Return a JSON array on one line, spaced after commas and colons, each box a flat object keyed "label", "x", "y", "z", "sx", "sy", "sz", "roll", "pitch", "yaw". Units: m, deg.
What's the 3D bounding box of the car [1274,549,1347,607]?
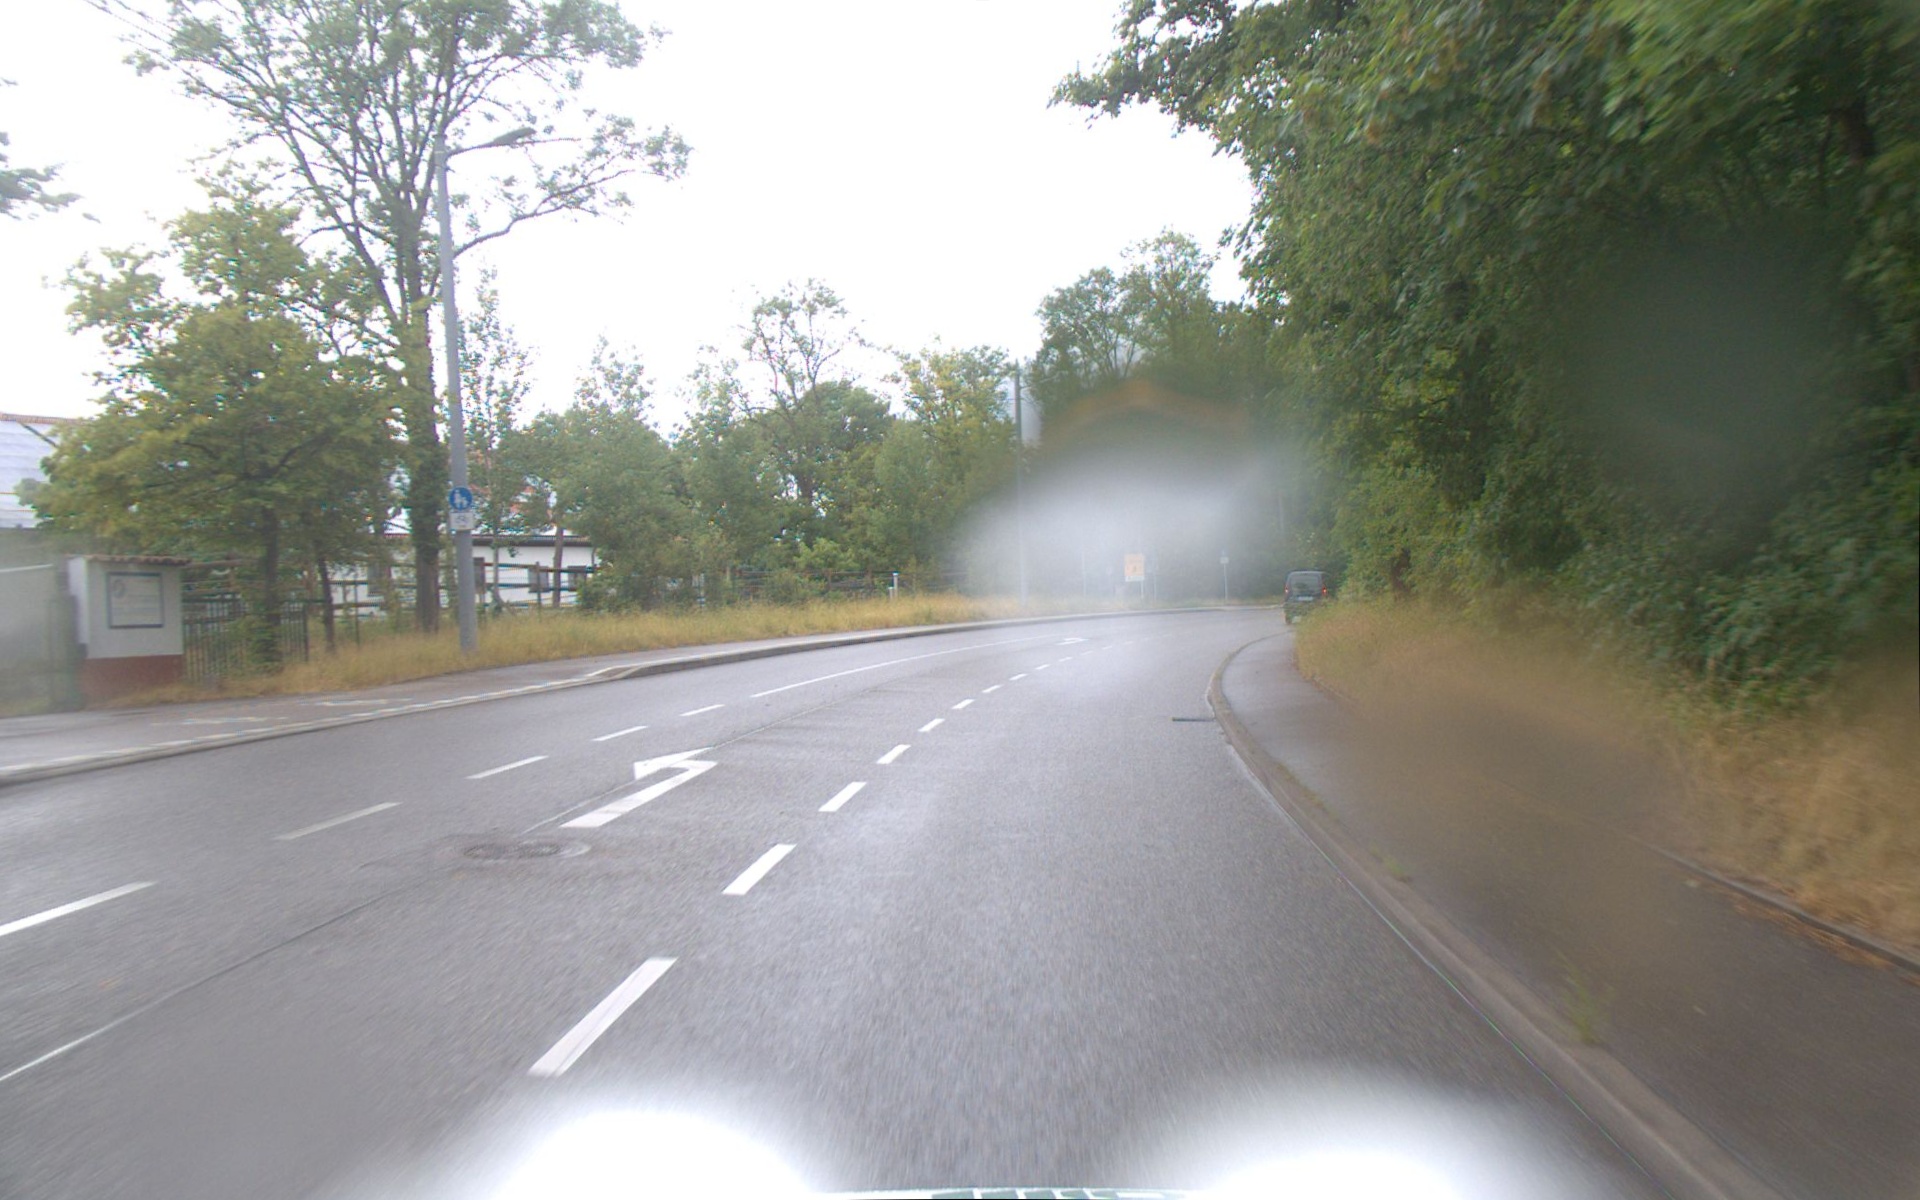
[{"label": "car", "x": 12.777, "y": -0.834, "z": 60.166, "sx": 1.790, "sy": 1.824, "sz": 4.001, "roll": -7, "pitch": 0, "yaw": 22}]
